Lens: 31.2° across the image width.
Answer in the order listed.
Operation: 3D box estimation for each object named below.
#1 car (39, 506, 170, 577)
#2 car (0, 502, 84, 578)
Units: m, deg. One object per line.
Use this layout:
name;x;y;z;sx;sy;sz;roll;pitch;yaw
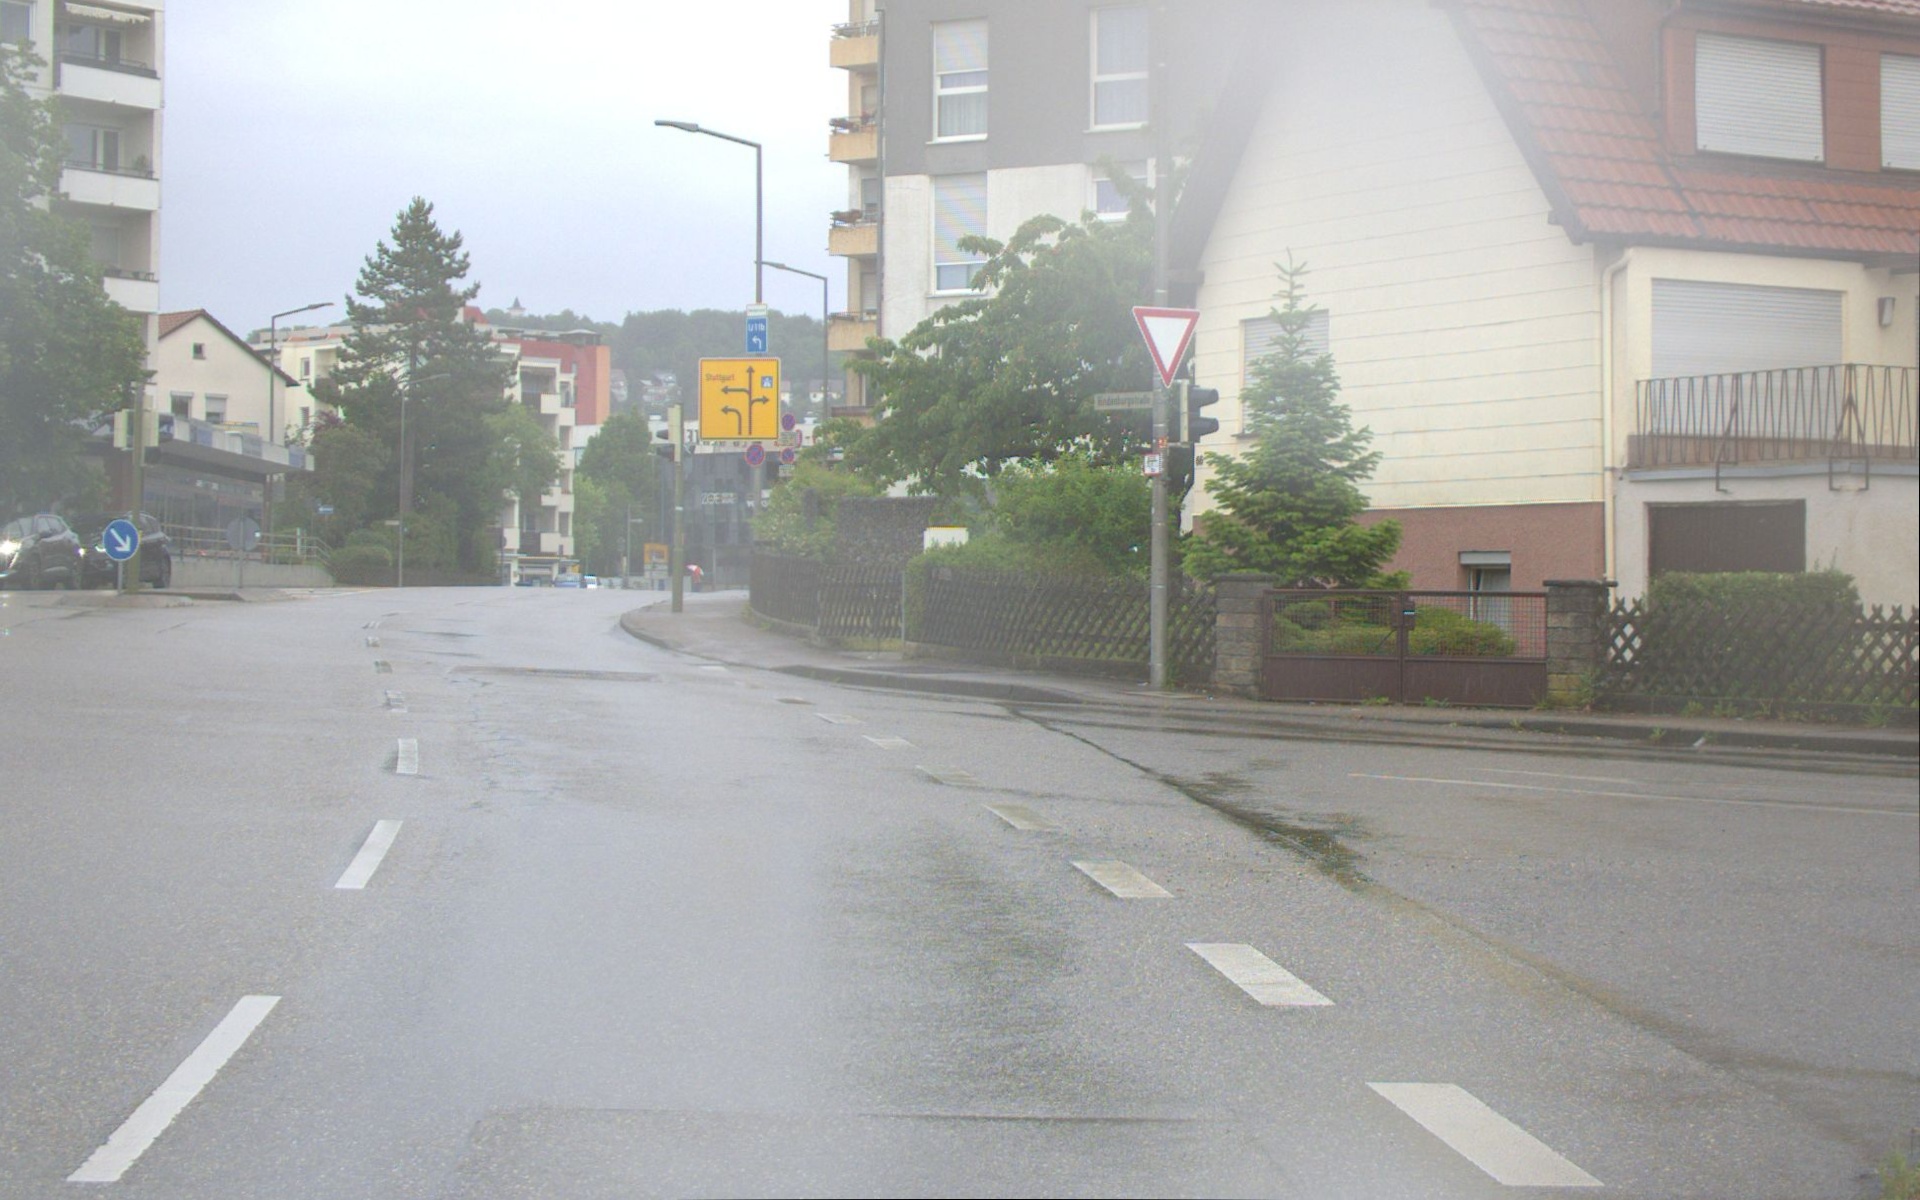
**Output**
car;-17.734;-1.234;71.425;1.778;1.415;3.831;1;1;-1
car;-18.084;-1.170;65.618;1.715;1.382;4.021;1;1;-1
